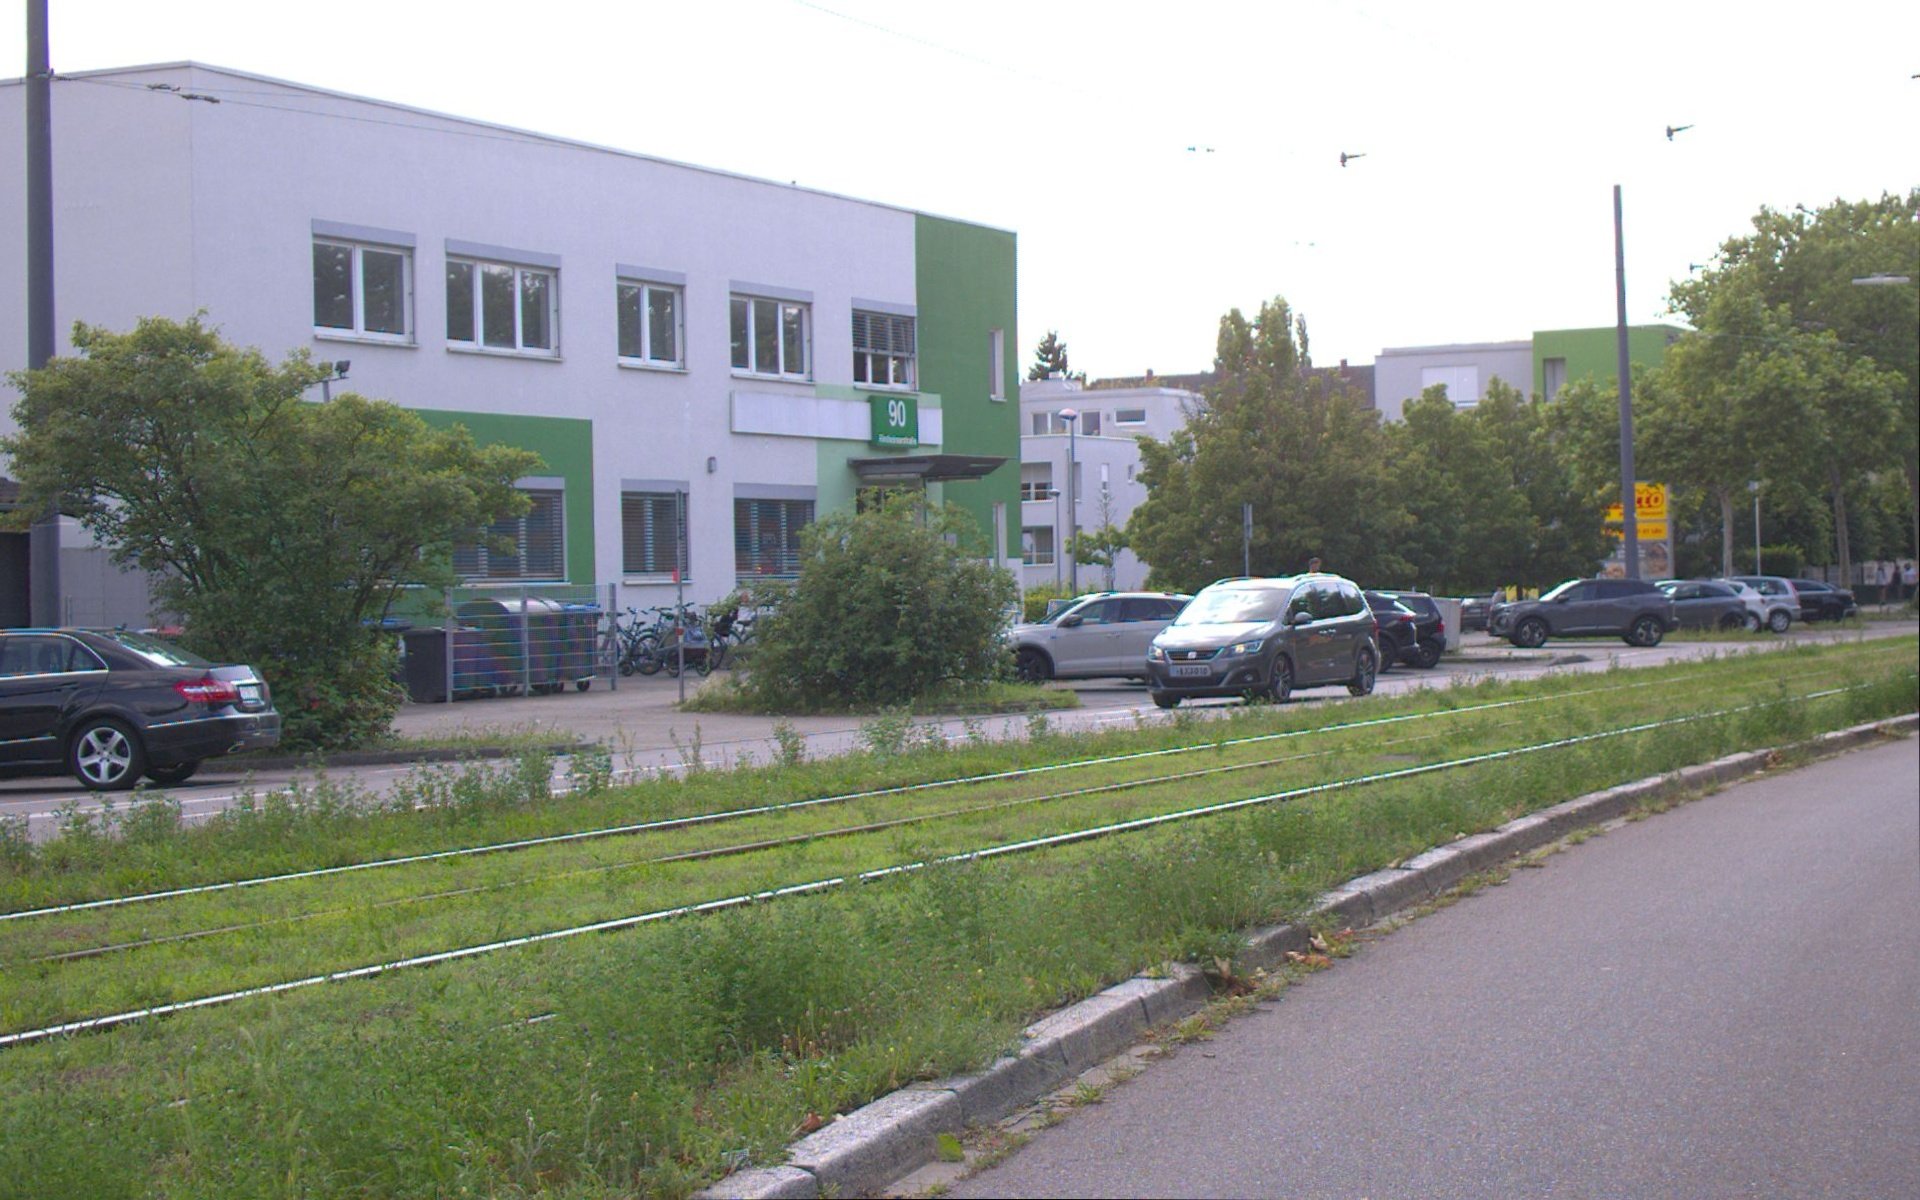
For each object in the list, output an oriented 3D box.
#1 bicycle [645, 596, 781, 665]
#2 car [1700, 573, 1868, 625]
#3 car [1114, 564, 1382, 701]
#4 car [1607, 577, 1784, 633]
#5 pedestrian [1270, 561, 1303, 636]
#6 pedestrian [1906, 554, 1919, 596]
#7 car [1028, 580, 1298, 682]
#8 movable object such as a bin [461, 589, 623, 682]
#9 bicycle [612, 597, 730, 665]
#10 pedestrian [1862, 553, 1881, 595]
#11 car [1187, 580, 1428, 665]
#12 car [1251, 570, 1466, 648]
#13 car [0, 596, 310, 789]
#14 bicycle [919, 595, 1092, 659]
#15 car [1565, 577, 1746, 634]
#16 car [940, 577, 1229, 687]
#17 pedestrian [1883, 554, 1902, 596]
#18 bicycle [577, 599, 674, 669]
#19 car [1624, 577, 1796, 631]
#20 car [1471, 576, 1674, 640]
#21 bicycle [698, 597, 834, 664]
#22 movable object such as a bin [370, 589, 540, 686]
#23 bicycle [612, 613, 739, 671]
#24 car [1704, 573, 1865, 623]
[{"bbox_3d":[-4.349,0.541,60.422,2.348,1.162,0.759,-1,0,31],"label":"bicycle"},{"bbox_3d":[23.084,-0.029,96.439,4.301,1.359,1.902,-1,0,4],"label":"car"},{"bbox_3d":[3.956,0.403,46.462,1.996,1.716,4.734,-1,0,26],"label":"car"},{"bbox_3d":[19.430,0.124,90.953,4.301,1.359,1.902,-1,0,4],"label":"car"},{"bbox_3d":[7.300,-0.033,76.789,0.596,1.669,0.541,-1,0,17],"label":"pedestrian"},{"bbox_3d":[39.376,-1.031,141.681,0.621,1.723,0.645,1,0,25],"label":"pedestrian"},{"bbox_3d":[3.348,0.503,57.292,4.300,1.624,1.902,-1,0,-2],"label":"car"},{"bbox_3d":[-6.190,0.518,51.014,1.374,1.322,2.128,-1,0,29],"label":"movable object such as a bin"},{"bbox_3d":[-4.778,0.507,56.840,1.793,1.078,0.735,-1,0,23],"label":"bicycle"},{"bbox_3d":[37.629,-1.057,141.905,0.621,1.723,0.645,1,0,25],"label":"pedestrian"},{"bbox_3d":[6.309,0.397,62.777,4.156,1.499,1.861,-1,0,-2],"label":"car"},{"bbox_3d":[7.934,0.167,68.729,4.157,1.499,1.860,-1,0,4],"label":"car"},{"bbox_3d":[-8.341,0.842,30.665,4.566,1.575,2.000,-2,0,6],"label":"car"},{"bbox_3d":[0.878,0.523,66.860,3.137,1.162,1.141,-1,0,22],"label":"bicycle"},{"bbox_3d":[17.789,0.134,88.062,4.301,1.359,1.902,-1,0,4],"label":"car"},{"bbox_3d":[1.952,0.498,54.710,4.300,1.623,1.902,-1,0,-7],"label":"car"},{"bbox_3d":[38.362,-1.043,141.484,0.621,1.723,0.645,1,0,25],"label":"pedestrian"},{"bbox_3d":[-5.677,0.574,58.352,1.619,1.162,0.704,-1,0,42],"label":"bicycle"},{"bbox_3d":[20.340,0.113,93.384,4.301,1.359,1.902,-1,0,4],"label":"car"},{"bbox_3d":[13.964,0.173,78.503,4.301,1.359,1.902,-1,0,2],"label":"car"},{"bbox_3d":[-3.462,0.550,61.259,2.414,1.162,0.747,-1,0,33],"label":"bicycle"},{"bbox_3d":[-7.195,0.524,49.072,1.374,1.322,2.114,-1,0,29],"label":"movable object such as a bin"},{"bbox_3d":[-4.948,0.738,59.703,2.156,0.967,0.730,-1,0,30],"label":"bicycle"},{"bbox_3d":[24.200,-0.059,100.995,4.301,1.359,1.902,-1,0,4],"label":"car"}]
